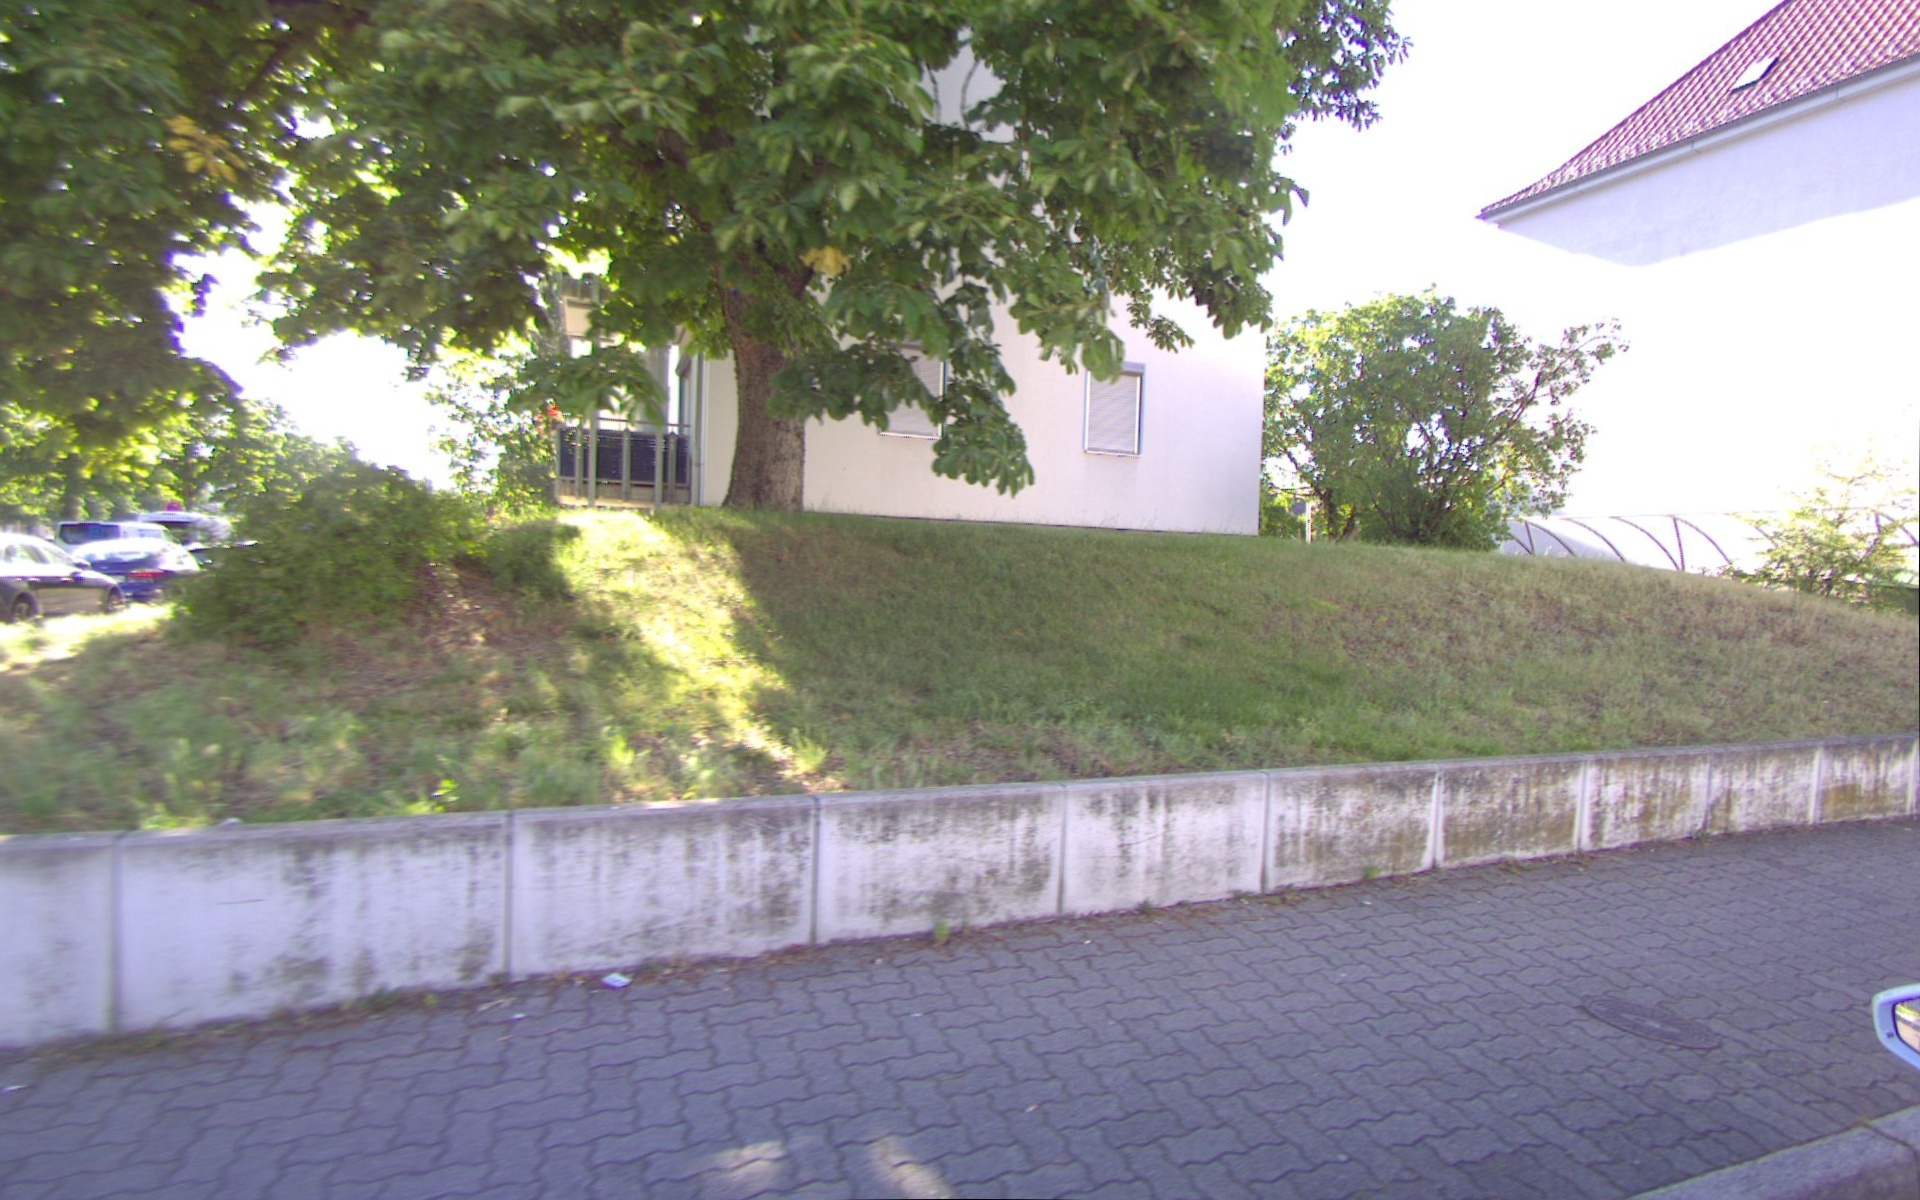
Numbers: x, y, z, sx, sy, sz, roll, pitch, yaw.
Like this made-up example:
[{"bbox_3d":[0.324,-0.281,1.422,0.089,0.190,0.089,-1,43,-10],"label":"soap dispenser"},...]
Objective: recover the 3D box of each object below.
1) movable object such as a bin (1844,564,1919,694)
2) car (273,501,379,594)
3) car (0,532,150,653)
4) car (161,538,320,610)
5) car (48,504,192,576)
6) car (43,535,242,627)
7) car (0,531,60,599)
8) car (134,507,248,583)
[{"bbox_3d":[12.622,0.376,12.916,1.173,1.635,1.456,1,2,-22],"label":"movable object such as a bin"},{"bbox_3d":[-20.558,-1.681,32.826,2.140,2.725,5.383,1,2,-24],"label":"car"},{"bbox_3d":[-12.532,-0.189,13.122,1.758,1.389,4.107,1,2,-20],"label":"car"},{"bbox_3d":[-16.709,-0.634,23.570,1.965,1.507,4.107,1,2,-20],"label":"car"},{"bbox_3d":[-25.296,-1.780,30.427,2.074,1.969,4.106,1,2,-21],"label":"car"},{"bbox_3d":[-15.092,-0.395,18.805,1.759,1.507,4.009,1,2,-22],"label":"car"},{"bbox_3d":[-22.398,-0.819,22.555,1.811,1.520,4.107,1,2,-20],"label":"car"},{"bbox_3d":[-27.693,-1.958,36.337,2.073,2.530,4.107,1,2,-20],"label":"car"}]
